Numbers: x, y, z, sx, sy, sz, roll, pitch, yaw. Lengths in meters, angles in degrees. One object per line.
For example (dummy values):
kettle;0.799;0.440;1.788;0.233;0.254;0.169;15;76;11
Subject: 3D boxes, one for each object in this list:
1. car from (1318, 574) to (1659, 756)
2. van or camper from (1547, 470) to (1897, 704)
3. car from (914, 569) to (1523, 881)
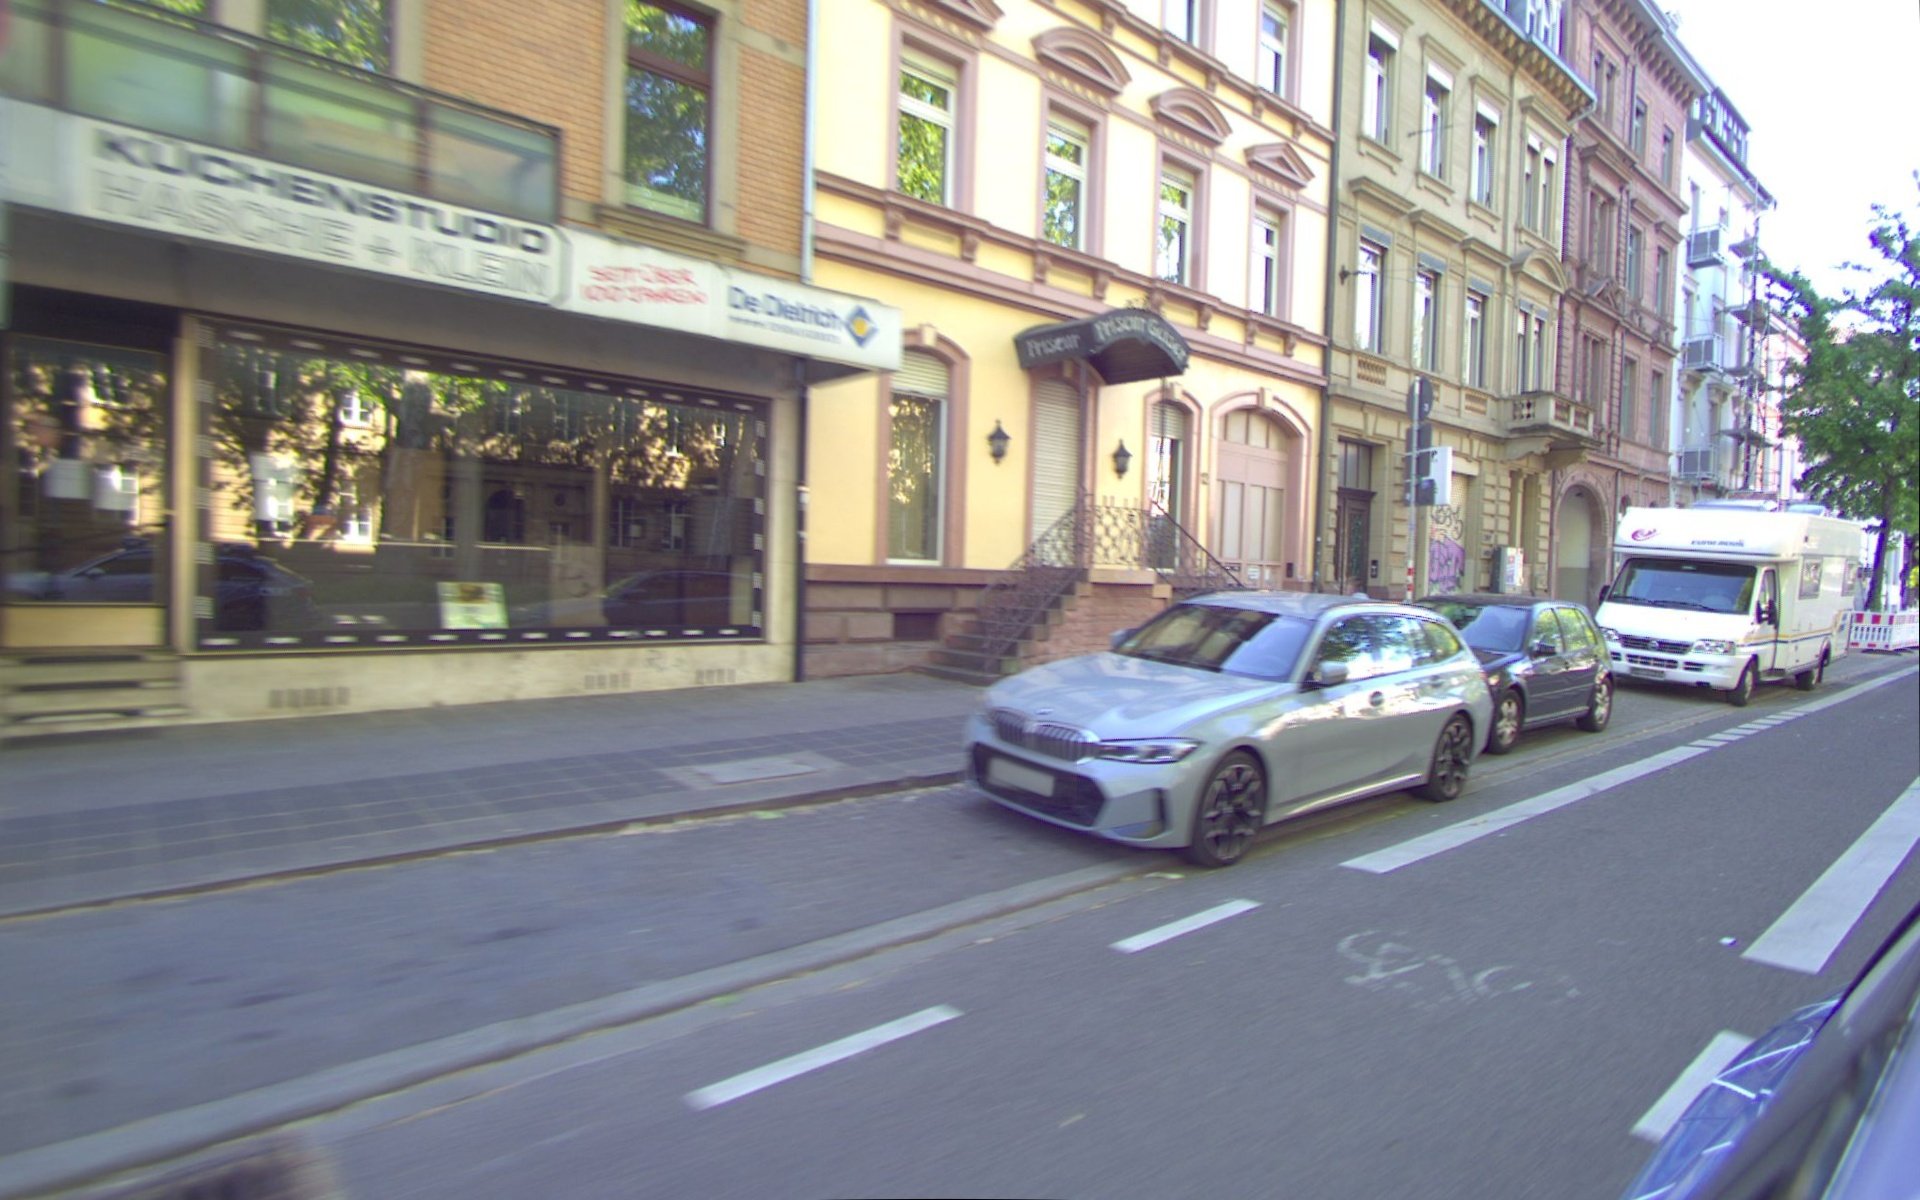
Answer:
car;5.668;0.546;10.674;3.956;1.450;1.650;0;6;-39
van or camper;12.627;-0.299;16.461;7.741;3.006;2.486;0;6;-39
car;2.050;0.575;7.126;4.583;1.452;1.814;-1;4;-41
